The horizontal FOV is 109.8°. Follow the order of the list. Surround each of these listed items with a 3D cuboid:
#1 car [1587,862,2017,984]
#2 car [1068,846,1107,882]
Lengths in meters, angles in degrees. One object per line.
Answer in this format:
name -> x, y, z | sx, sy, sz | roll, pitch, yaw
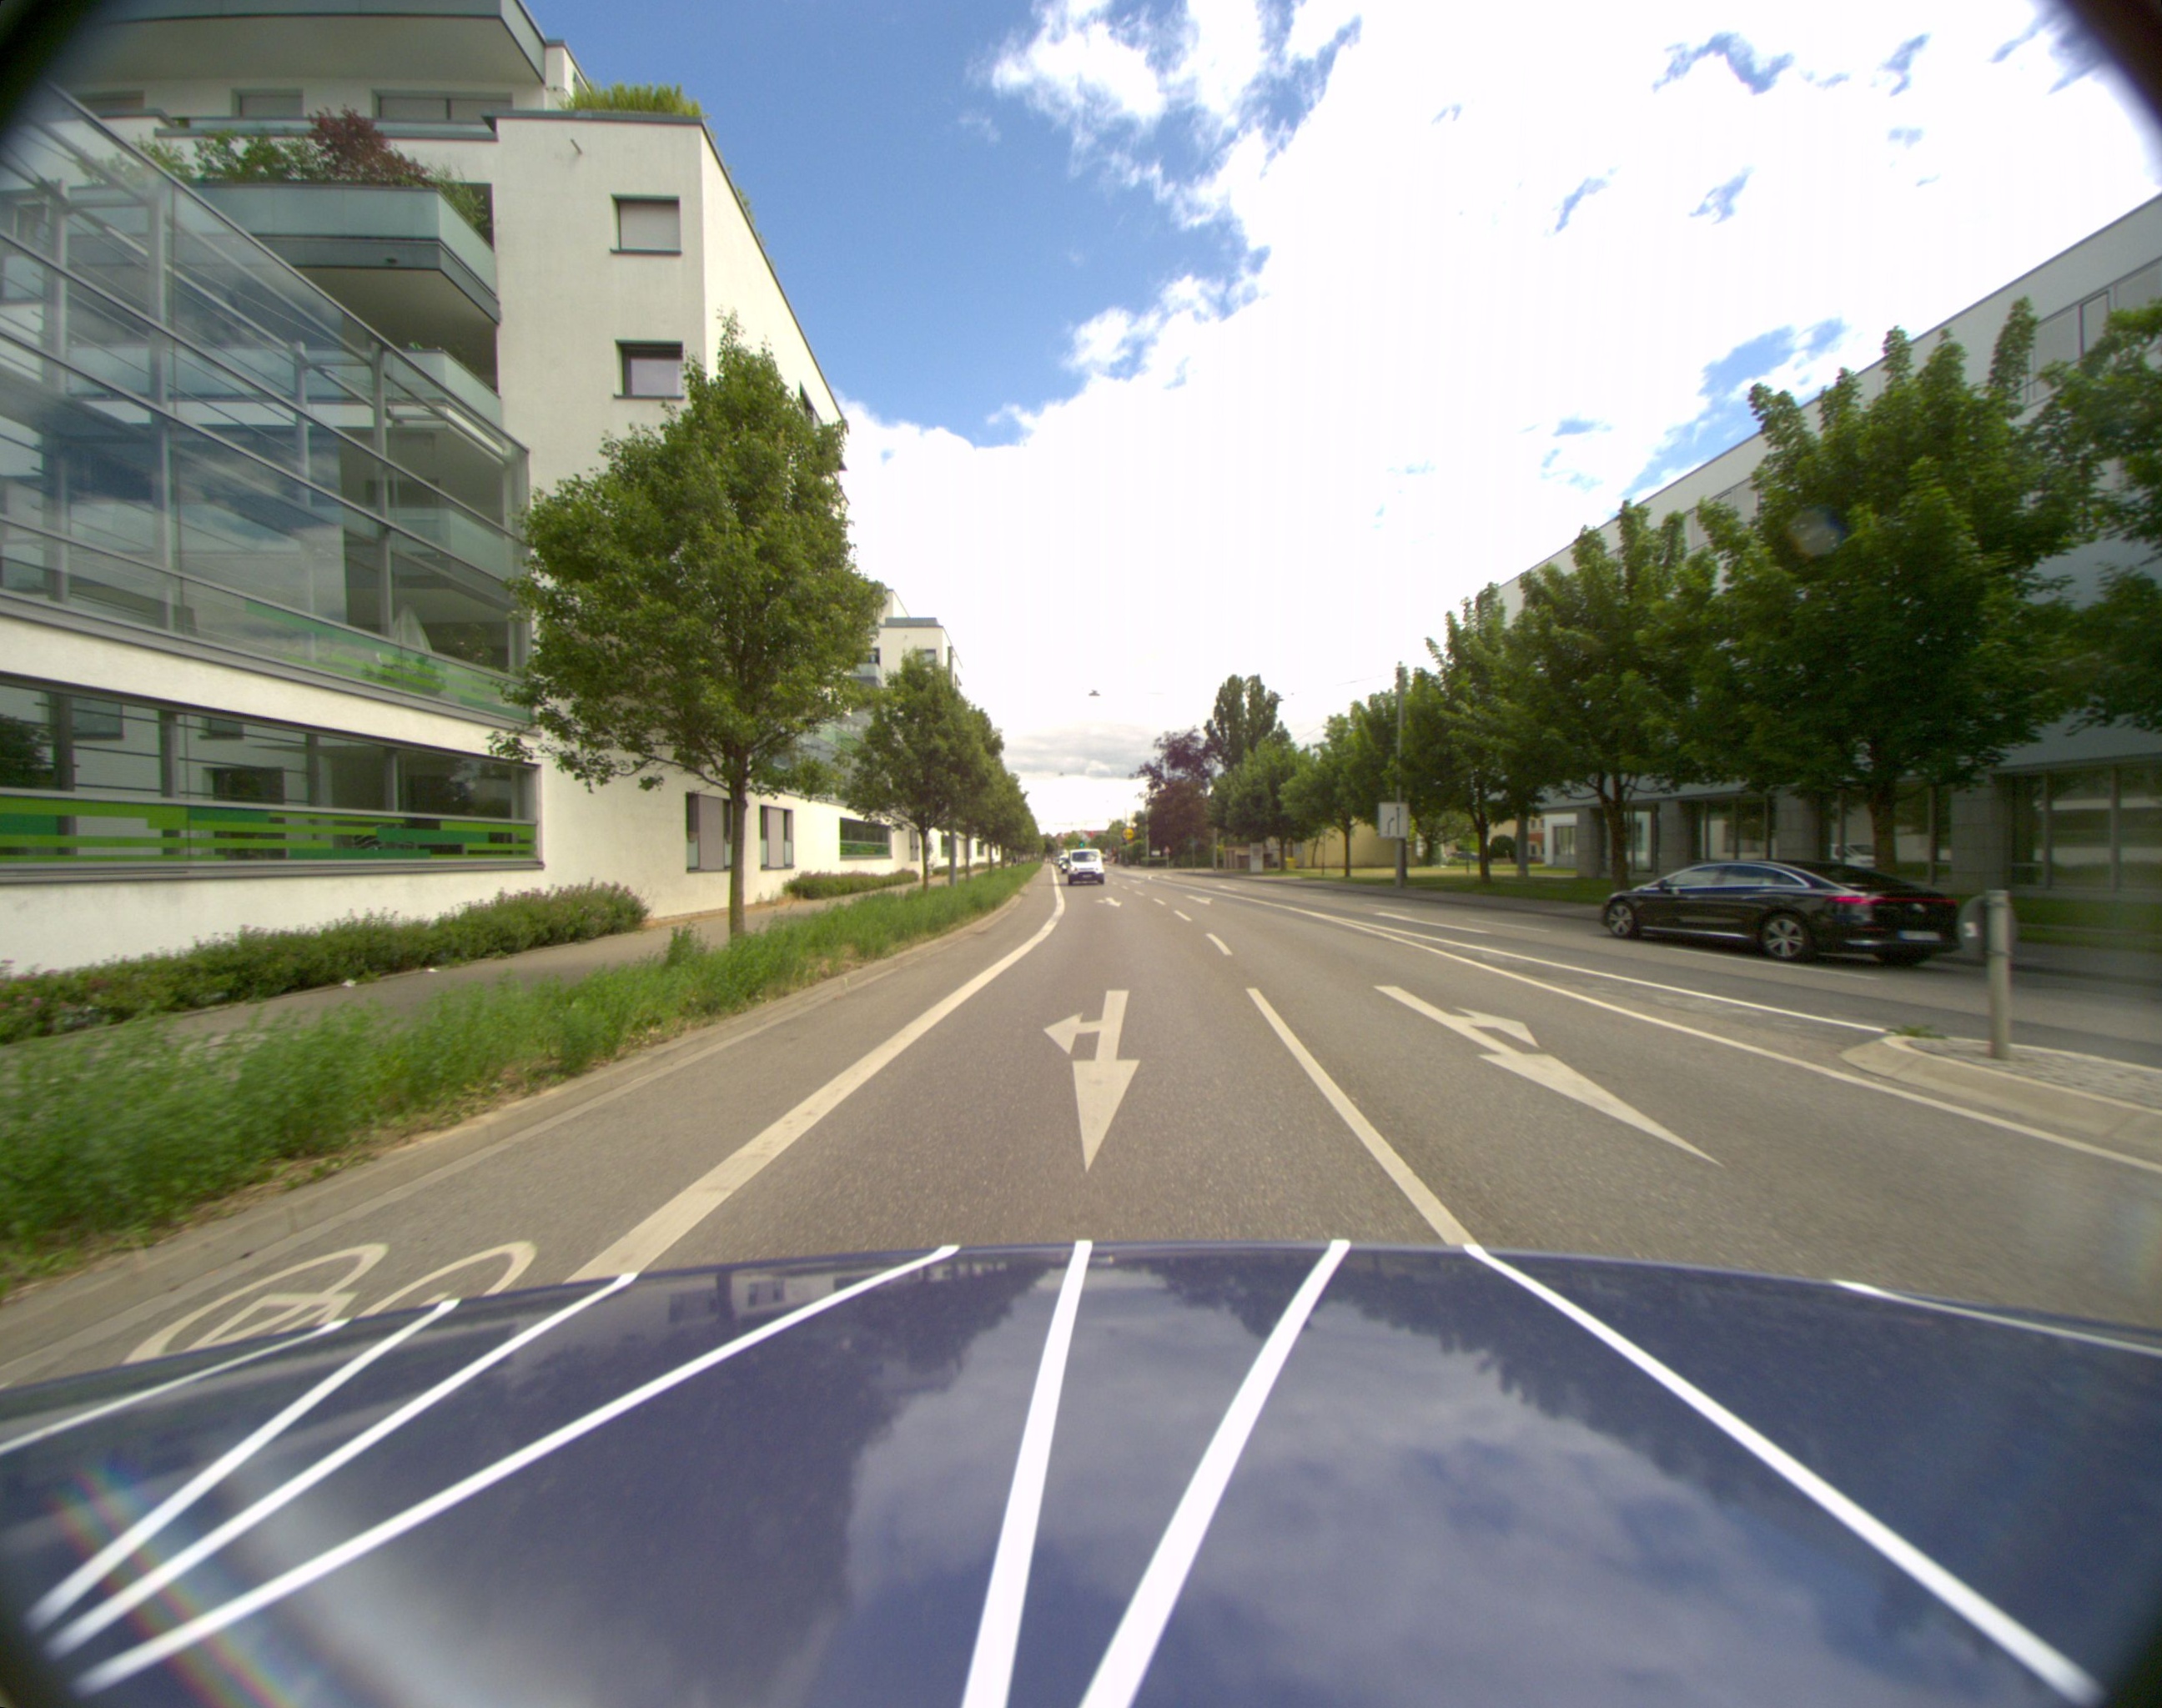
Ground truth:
car -> 10.998, 0.926, 12.332 | 2.030, 1.437, 5.047 | 1, 1, -3
car -> 0.335, 0.558, 44.643 | 1.999, 1.905, 3.998 | -2, 1, -3
